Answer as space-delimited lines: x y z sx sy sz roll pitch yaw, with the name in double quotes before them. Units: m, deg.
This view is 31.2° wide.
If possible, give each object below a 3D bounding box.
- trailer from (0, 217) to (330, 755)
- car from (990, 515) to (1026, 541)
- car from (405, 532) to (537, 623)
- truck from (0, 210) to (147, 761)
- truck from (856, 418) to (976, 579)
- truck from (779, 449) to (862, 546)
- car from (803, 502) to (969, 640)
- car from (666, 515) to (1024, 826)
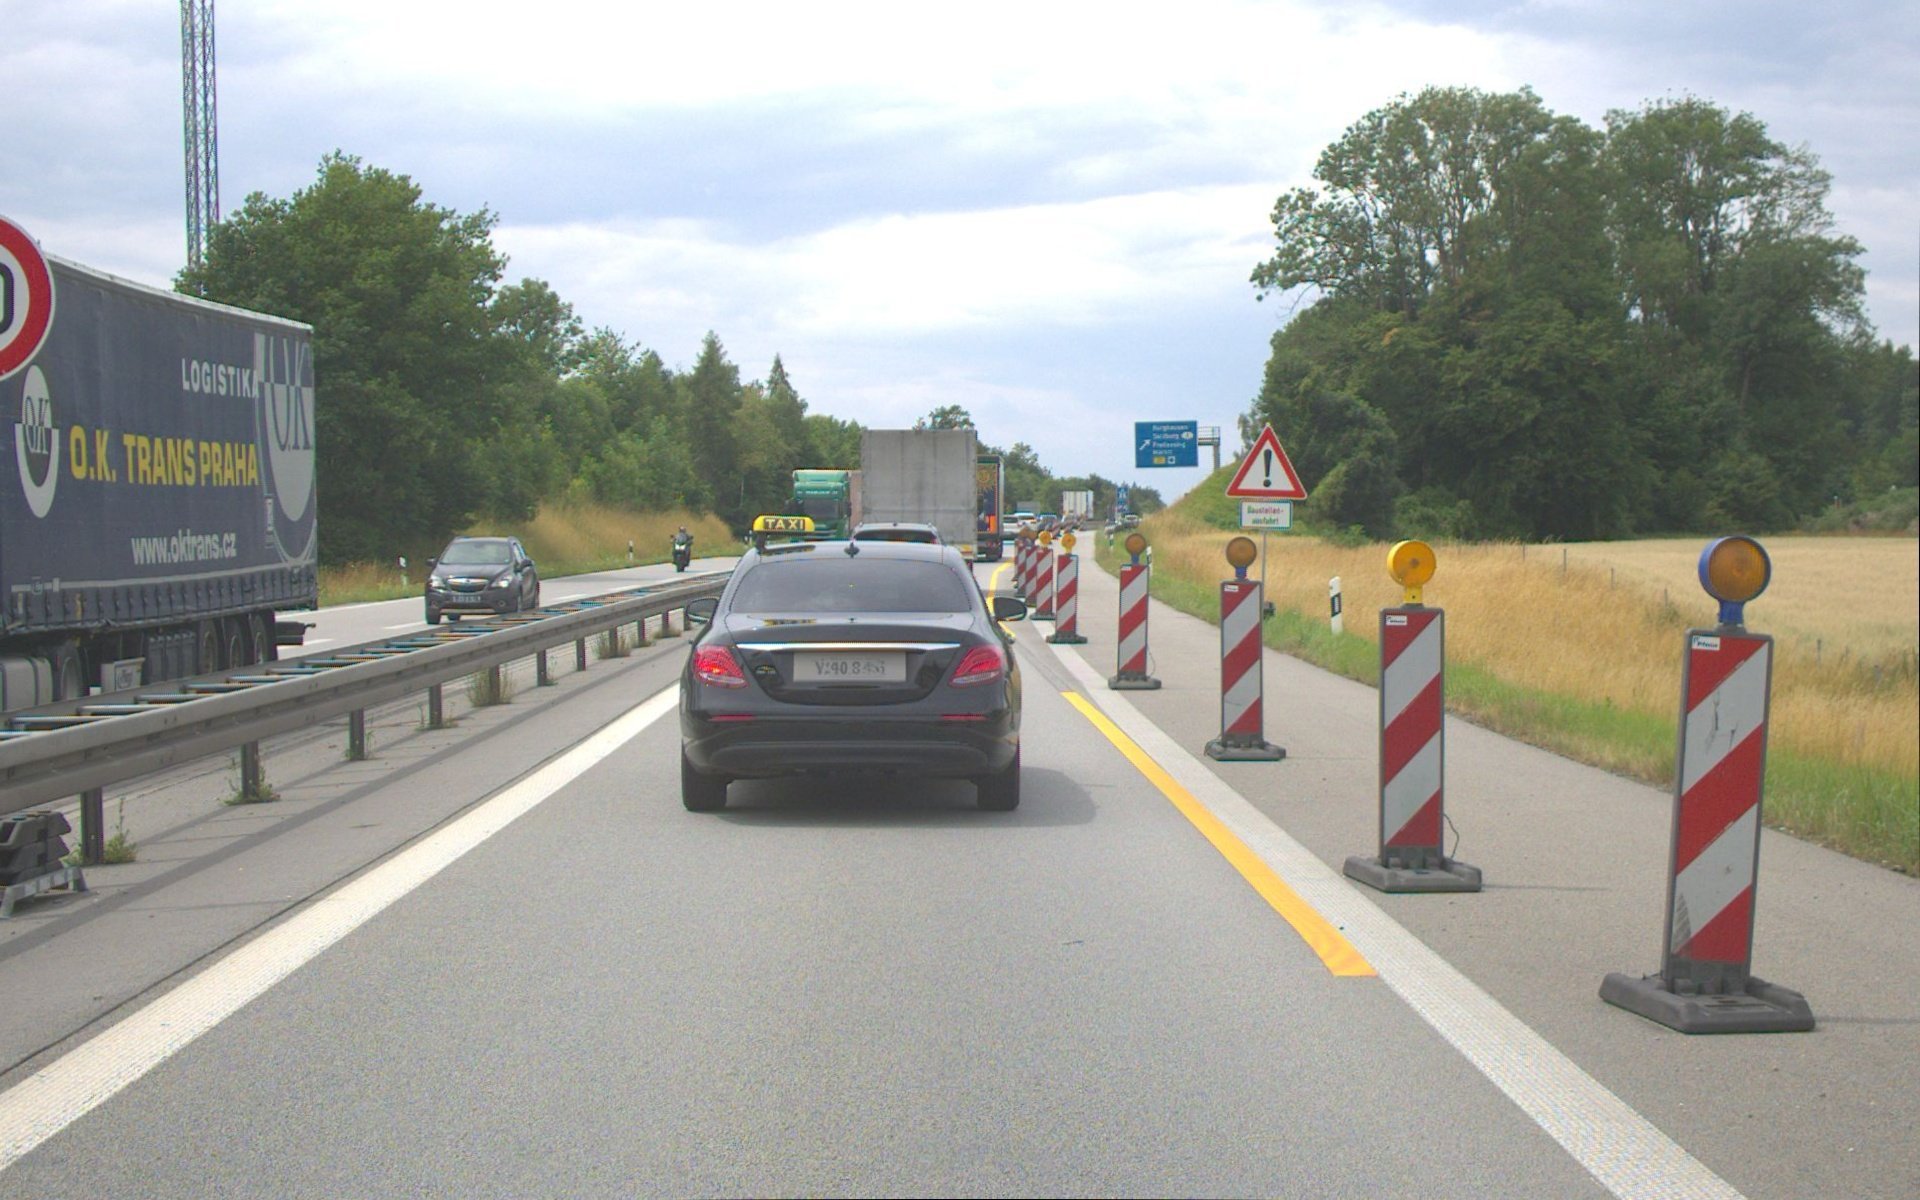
"trailer" -8.702 -0.975 33.375 2.798 4.158 13.564 1 1 -1
"car" 2.671 -3.986 191.131 1.649 1.391 3.706 1 1 -4
"car" -9.367 -0.446 66.090 1.993 1.678 4.234 1 1 -1
"truck" -8.613 -0.885 26.959 2.798 4.128 7.229 1 1 -1
"truck" -1.020 -2.265 77.967 2.587 3.512 4.813 1 1 -1
"truck" -6.253 -4.544 154.648 3.123 4.198 6.780 1 1 3
"car" -1.165 -0.451 52.336 1.993 2.007 4.001 1 1 -9
"car" -0.650 0.336 19.433 1.795 1.554 4.000 1 1 -2
